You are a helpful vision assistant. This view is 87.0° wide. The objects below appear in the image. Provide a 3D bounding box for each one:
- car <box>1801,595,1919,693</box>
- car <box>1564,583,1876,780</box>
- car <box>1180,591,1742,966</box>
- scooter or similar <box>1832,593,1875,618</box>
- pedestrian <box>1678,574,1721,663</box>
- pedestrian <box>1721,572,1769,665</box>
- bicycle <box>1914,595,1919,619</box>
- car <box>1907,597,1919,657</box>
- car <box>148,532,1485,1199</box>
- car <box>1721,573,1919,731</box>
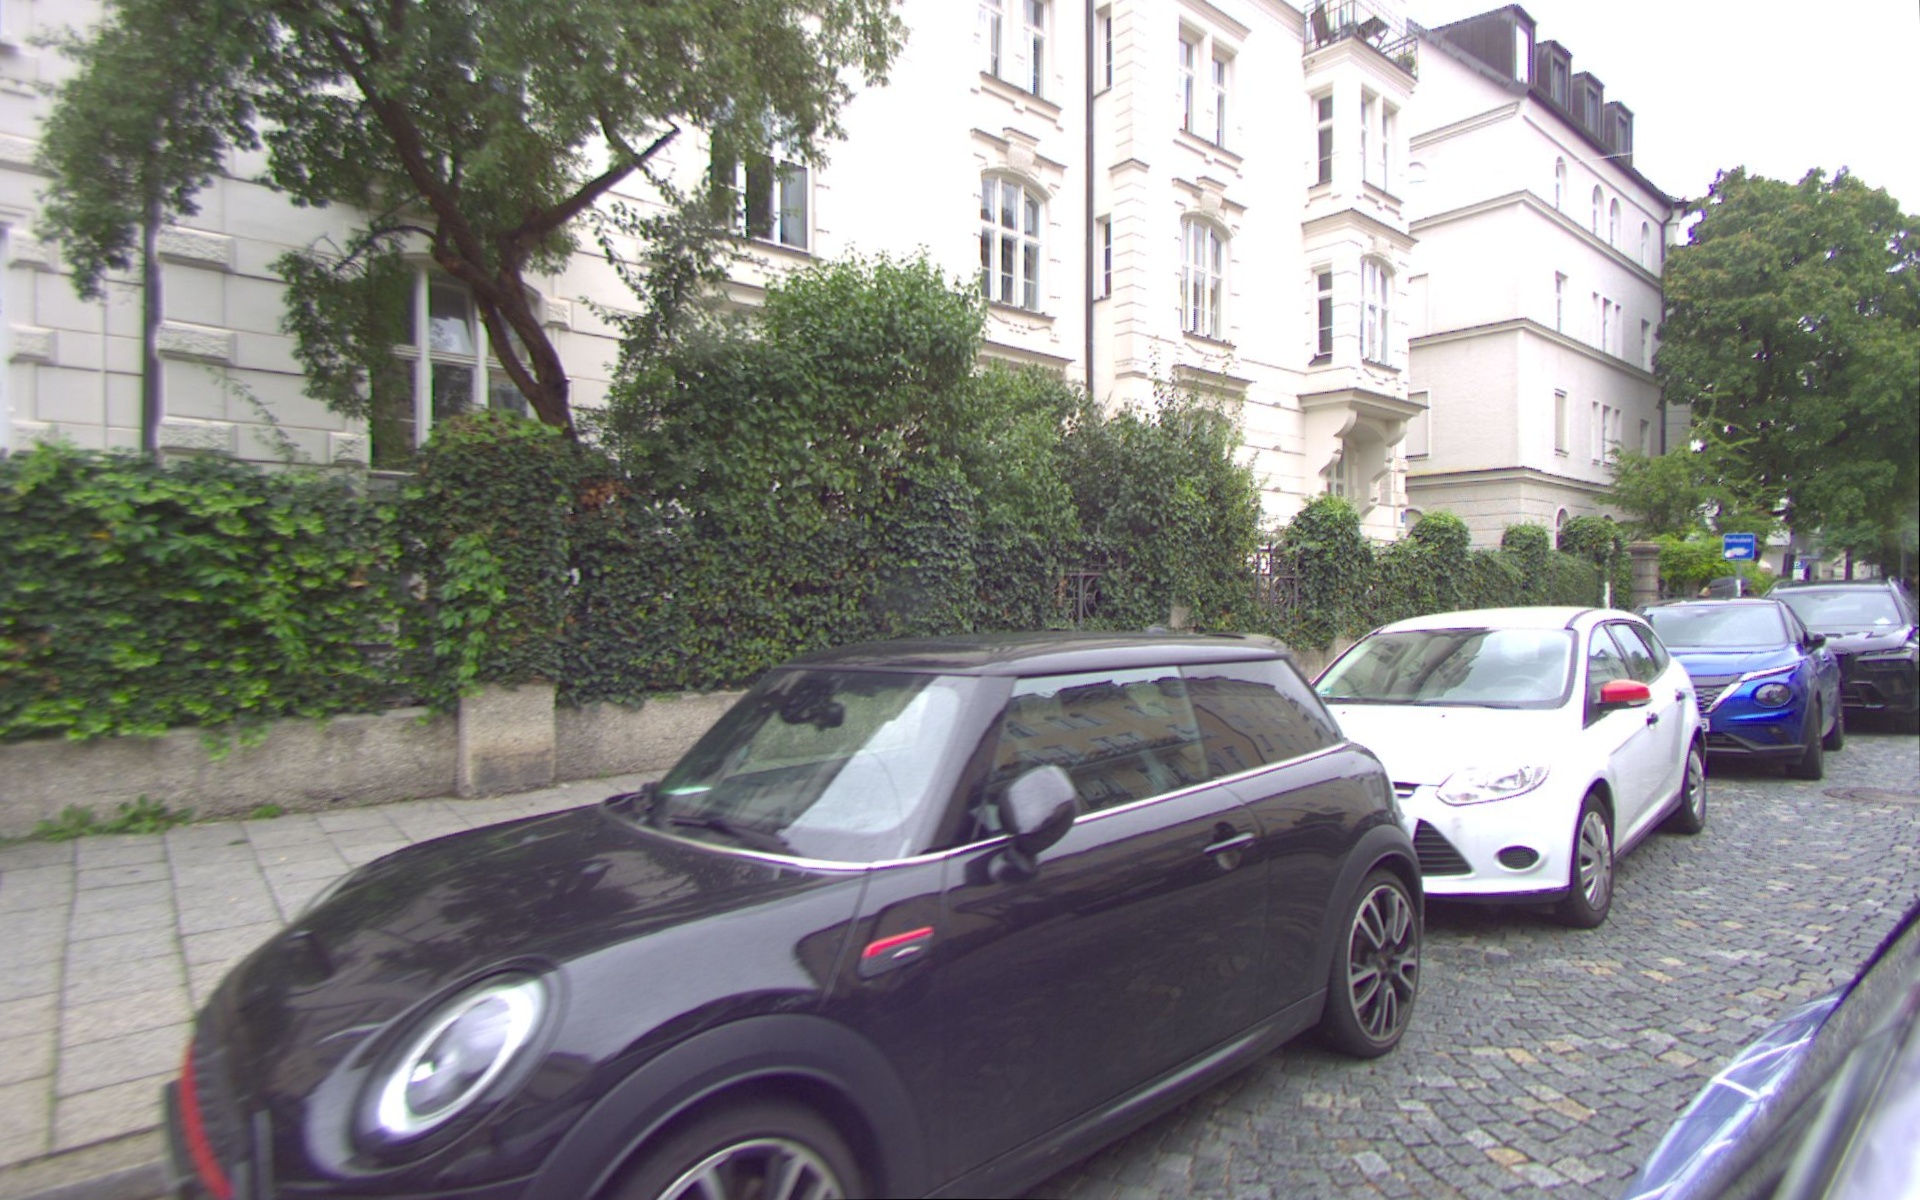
[{"bbox_3d":[15.662,0.684,17.106,3.596,1.488,1.632,-1,-2,-41],"label":"car"},{"bbox_3d":[7.494,0.632,9.812,4.179,1.501,1.710,-1,-2,-44],"label":"car"},{"bbox_3d":[3.292,0.695,6.153,1.774,1.447,4.320,-1,0,45],"label":"car"},{"bbox_3d":[43.976,0.250,49.806,0.396,1.187,1.611,-1,1,-17],"label":"scooter or similar"},{"bbox_3d":[15.575,0.383,21.324,0.624,1.831,0.653,-1,0,29],"label":"pedestrian"},{"bbox_3d":[16.114,0.374,20.774,0.668,1.873,0.577,0,0,-34],"label":"pedestrian"},{"bbox_3d":[50.976,0.376,53.545,1.700,1.212,0.429,-1,5,-41],"label":"bicycle"},{"bbox_3d":[25.734,0.607,25.999,4.554,1.440,1.649,-1,-3,-43],"label":"car"},{"bbox_3d":[-0.019,0.652,3.198,3.898,1.471,1.685,-1,-1,-42],"label":"car"},{"bbox_3d":[11.775,0.526,13.214,5.396,1.694,1.878,-1,0,-41],"label":"car"}]
